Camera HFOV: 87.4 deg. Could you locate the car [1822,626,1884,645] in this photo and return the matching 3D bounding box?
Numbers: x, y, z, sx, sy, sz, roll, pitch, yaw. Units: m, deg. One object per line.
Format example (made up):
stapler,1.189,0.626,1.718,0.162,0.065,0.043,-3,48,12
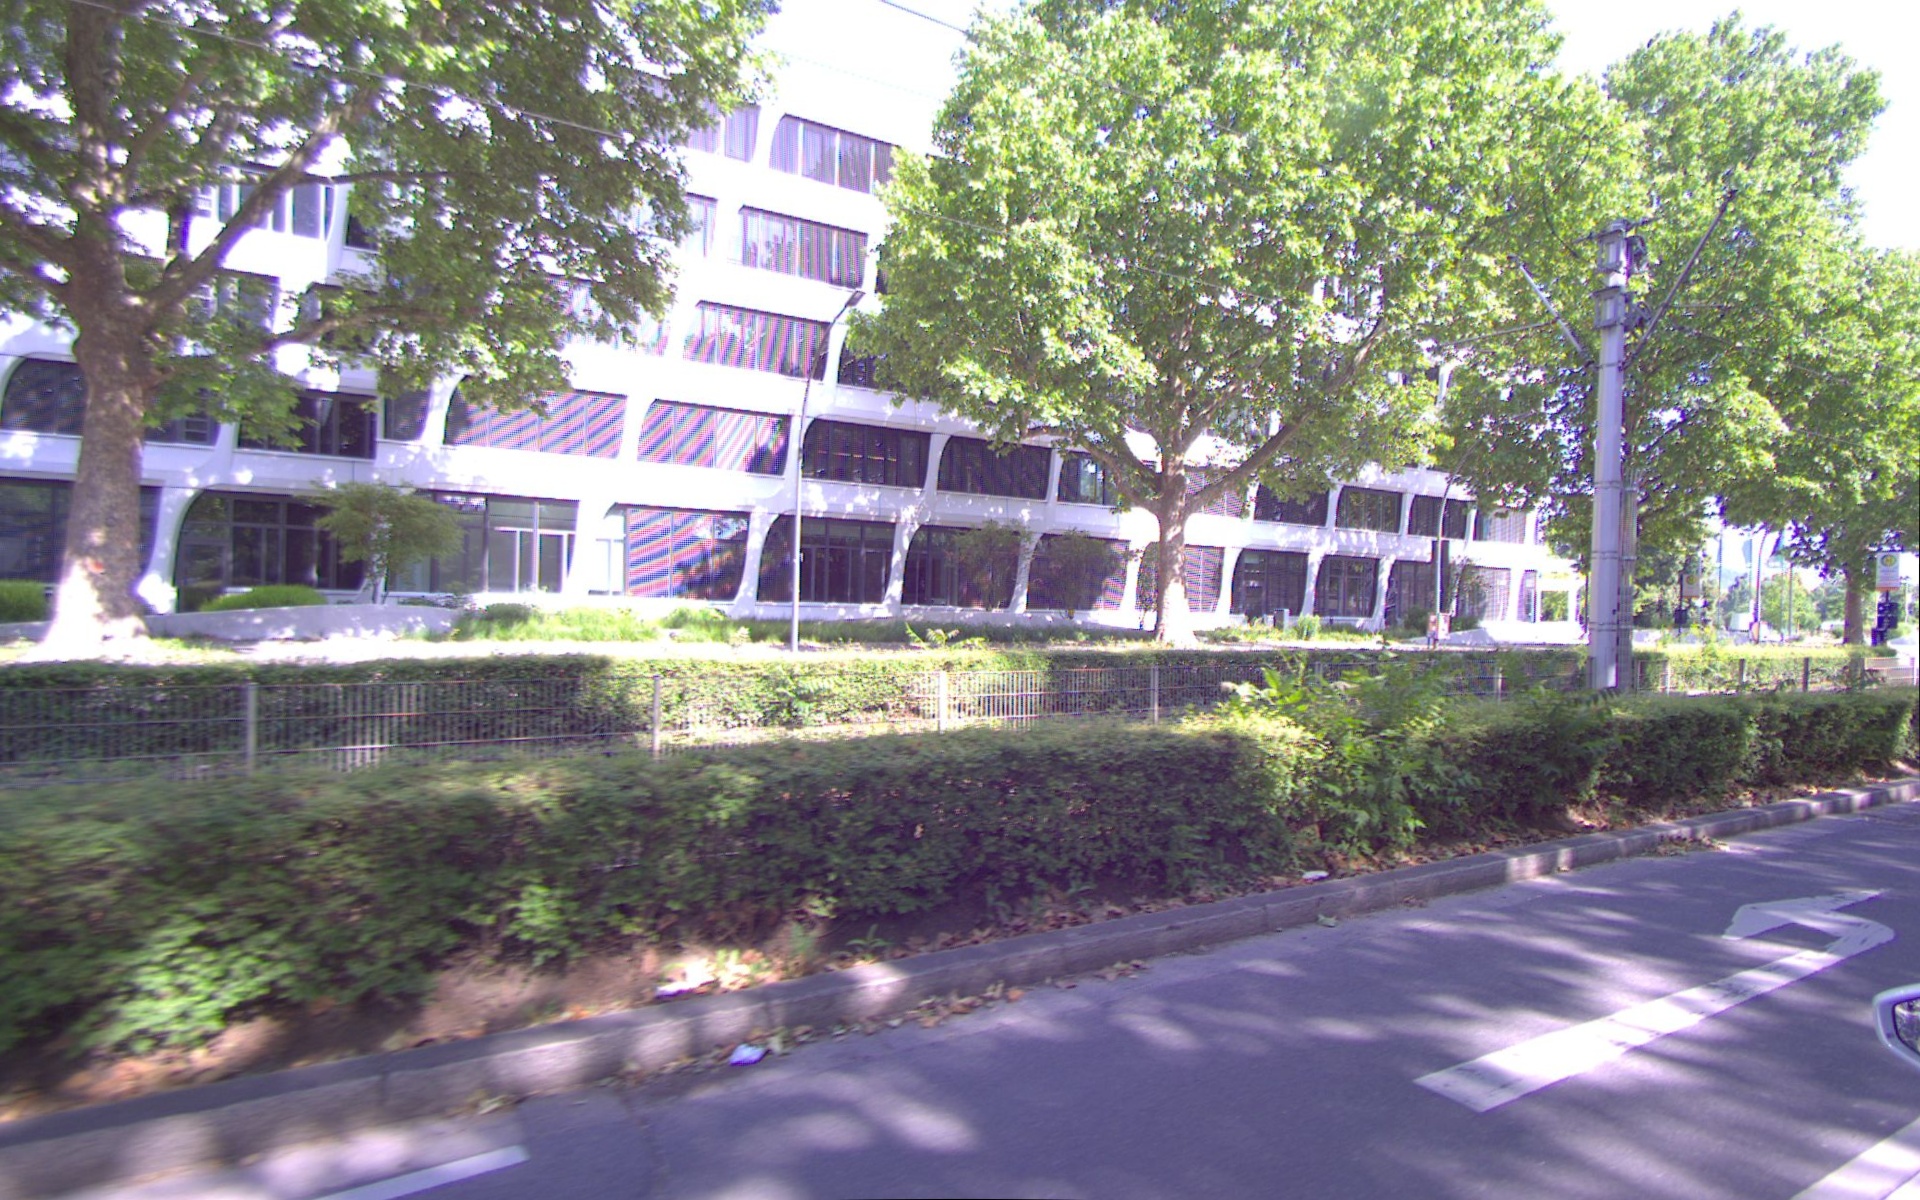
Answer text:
car,80.707,3.202,90.795,1.748,1.569,3.830,2,0,-29
